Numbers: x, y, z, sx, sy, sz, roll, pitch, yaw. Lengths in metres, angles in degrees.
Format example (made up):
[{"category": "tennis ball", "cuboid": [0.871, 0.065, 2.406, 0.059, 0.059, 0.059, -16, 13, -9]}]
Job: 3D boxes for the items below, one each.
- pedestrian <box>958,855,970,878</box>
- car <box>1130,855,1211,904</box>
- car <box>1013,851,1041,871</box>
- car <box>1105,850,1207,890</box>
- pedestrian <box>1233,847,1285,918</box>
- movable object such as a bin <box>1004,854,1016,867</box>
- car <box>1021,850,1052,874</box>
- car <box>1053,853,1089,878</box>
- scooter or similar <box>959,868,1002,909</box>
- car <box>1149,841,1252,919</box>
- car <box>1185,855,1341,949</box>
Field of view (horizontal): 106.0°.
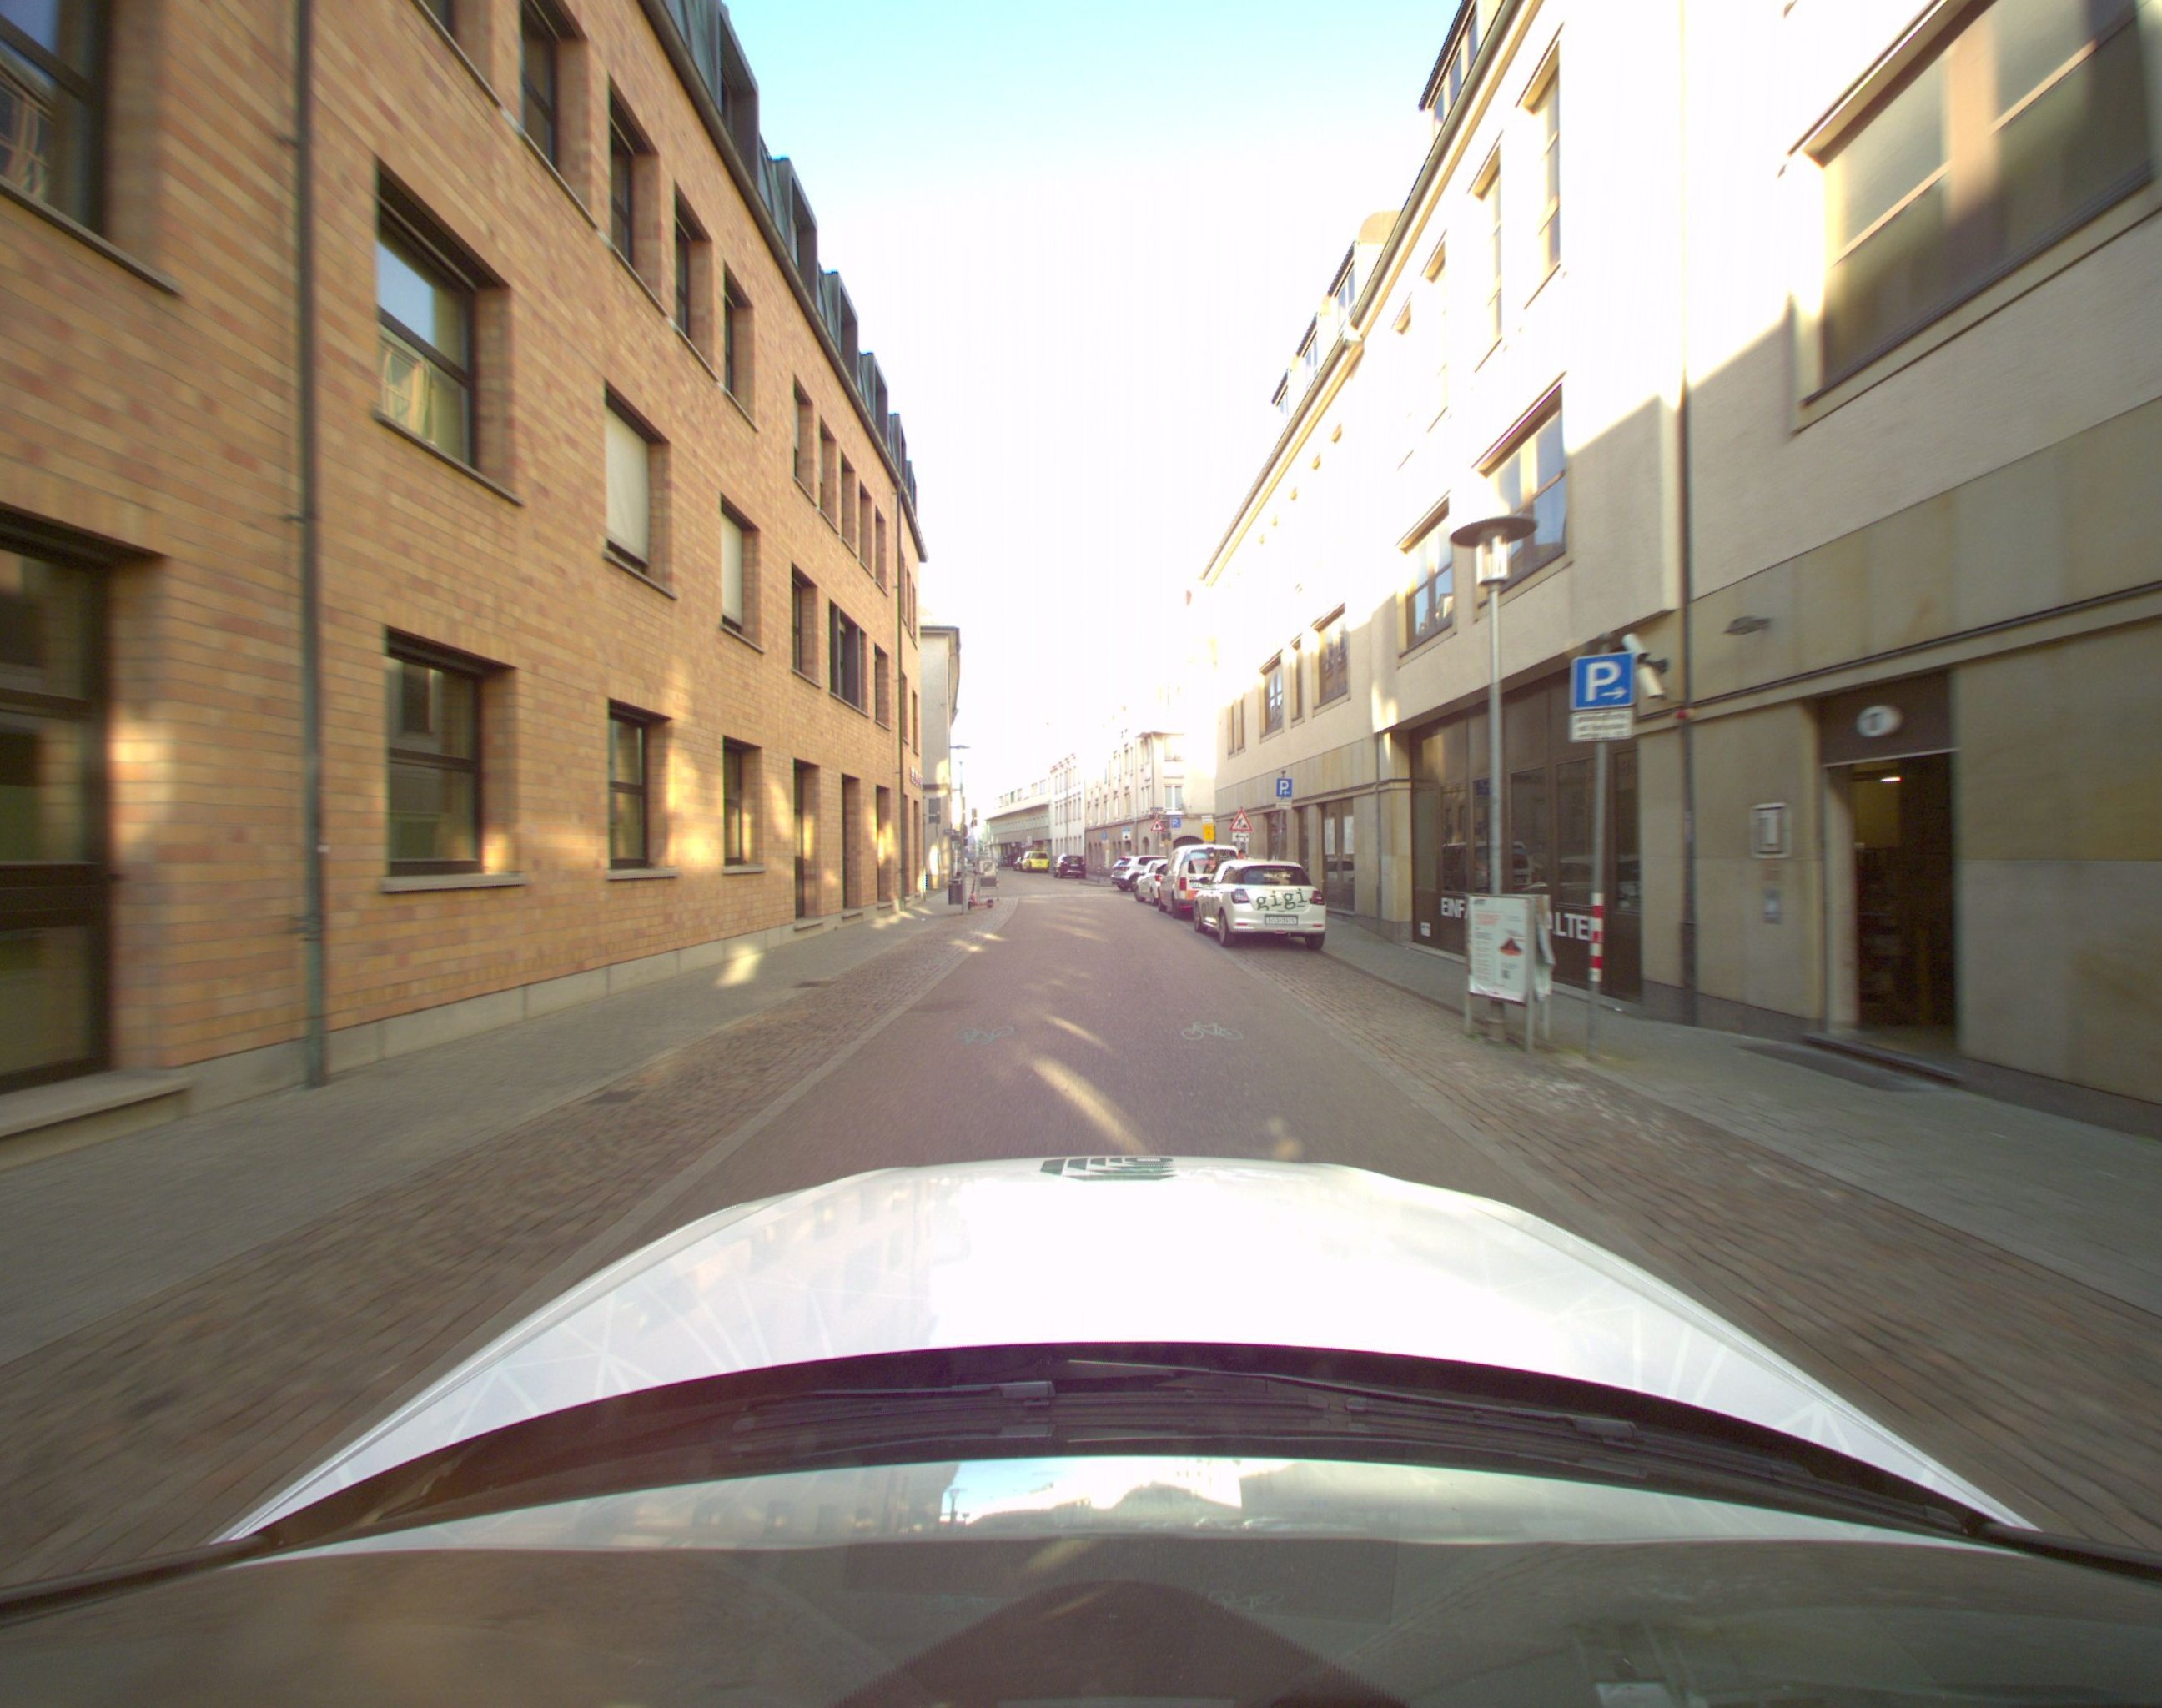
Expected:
[{"category": "pedestrian", "cuboid": [-8.744, 0.922, 60.965, 0.767, 1.724, 0.683, -1, 0, -15]}, {"category": "car", "cuboid": [2.925, 0.791, 27.487, 1.886, 1.518, 4.054, 0, 0, -6]}, {"category": "car", "cuboid": [-5.321, 0.635, 79.338, 2.055, 1.873, 4.081, -1, 0, -14]}, {"category": "car", "cuboid": [3.271, 0.681, 35.626, 3.999, 1.562, 1.831, -2, 0, -19]}, {"category": "pedestrian", "cuboid": [4.631, 0.728, 21.298, 1.039, 1.801, 1.198, -1, -1, -2]}, {"category": "movable object such as a bin", "cuboid": [-8.517, 0.795, 97.646, 1.134, 1.558, 1.729, -1, 0, -18]}, {"category": "car", "cuboid": [-4.072, 0.706, 73.605, 2.055, 2.013, 4.155, -1, 0, -14]}, {"category": "car", "cuboid": [-0.772, 0.793, 57.278, 1.967, 1.692, 4.088, 0, 0, -9]}, {"category": "scooter or similar", "cuboid": [-3.141, 1.072, 25.508, 0.691, 1.217, 1.365, -2, 0, 26]}, {"category": "car", "cuboid": [3.009, 0.610, 21.543, 1.825, 1.791, 5.210, 0, 0, -2]}, {"category": "car", "cuboid": [3.215, 0.782, 15.243, 1.836, 1.478, 4.165, 1, 0, -2]}]
